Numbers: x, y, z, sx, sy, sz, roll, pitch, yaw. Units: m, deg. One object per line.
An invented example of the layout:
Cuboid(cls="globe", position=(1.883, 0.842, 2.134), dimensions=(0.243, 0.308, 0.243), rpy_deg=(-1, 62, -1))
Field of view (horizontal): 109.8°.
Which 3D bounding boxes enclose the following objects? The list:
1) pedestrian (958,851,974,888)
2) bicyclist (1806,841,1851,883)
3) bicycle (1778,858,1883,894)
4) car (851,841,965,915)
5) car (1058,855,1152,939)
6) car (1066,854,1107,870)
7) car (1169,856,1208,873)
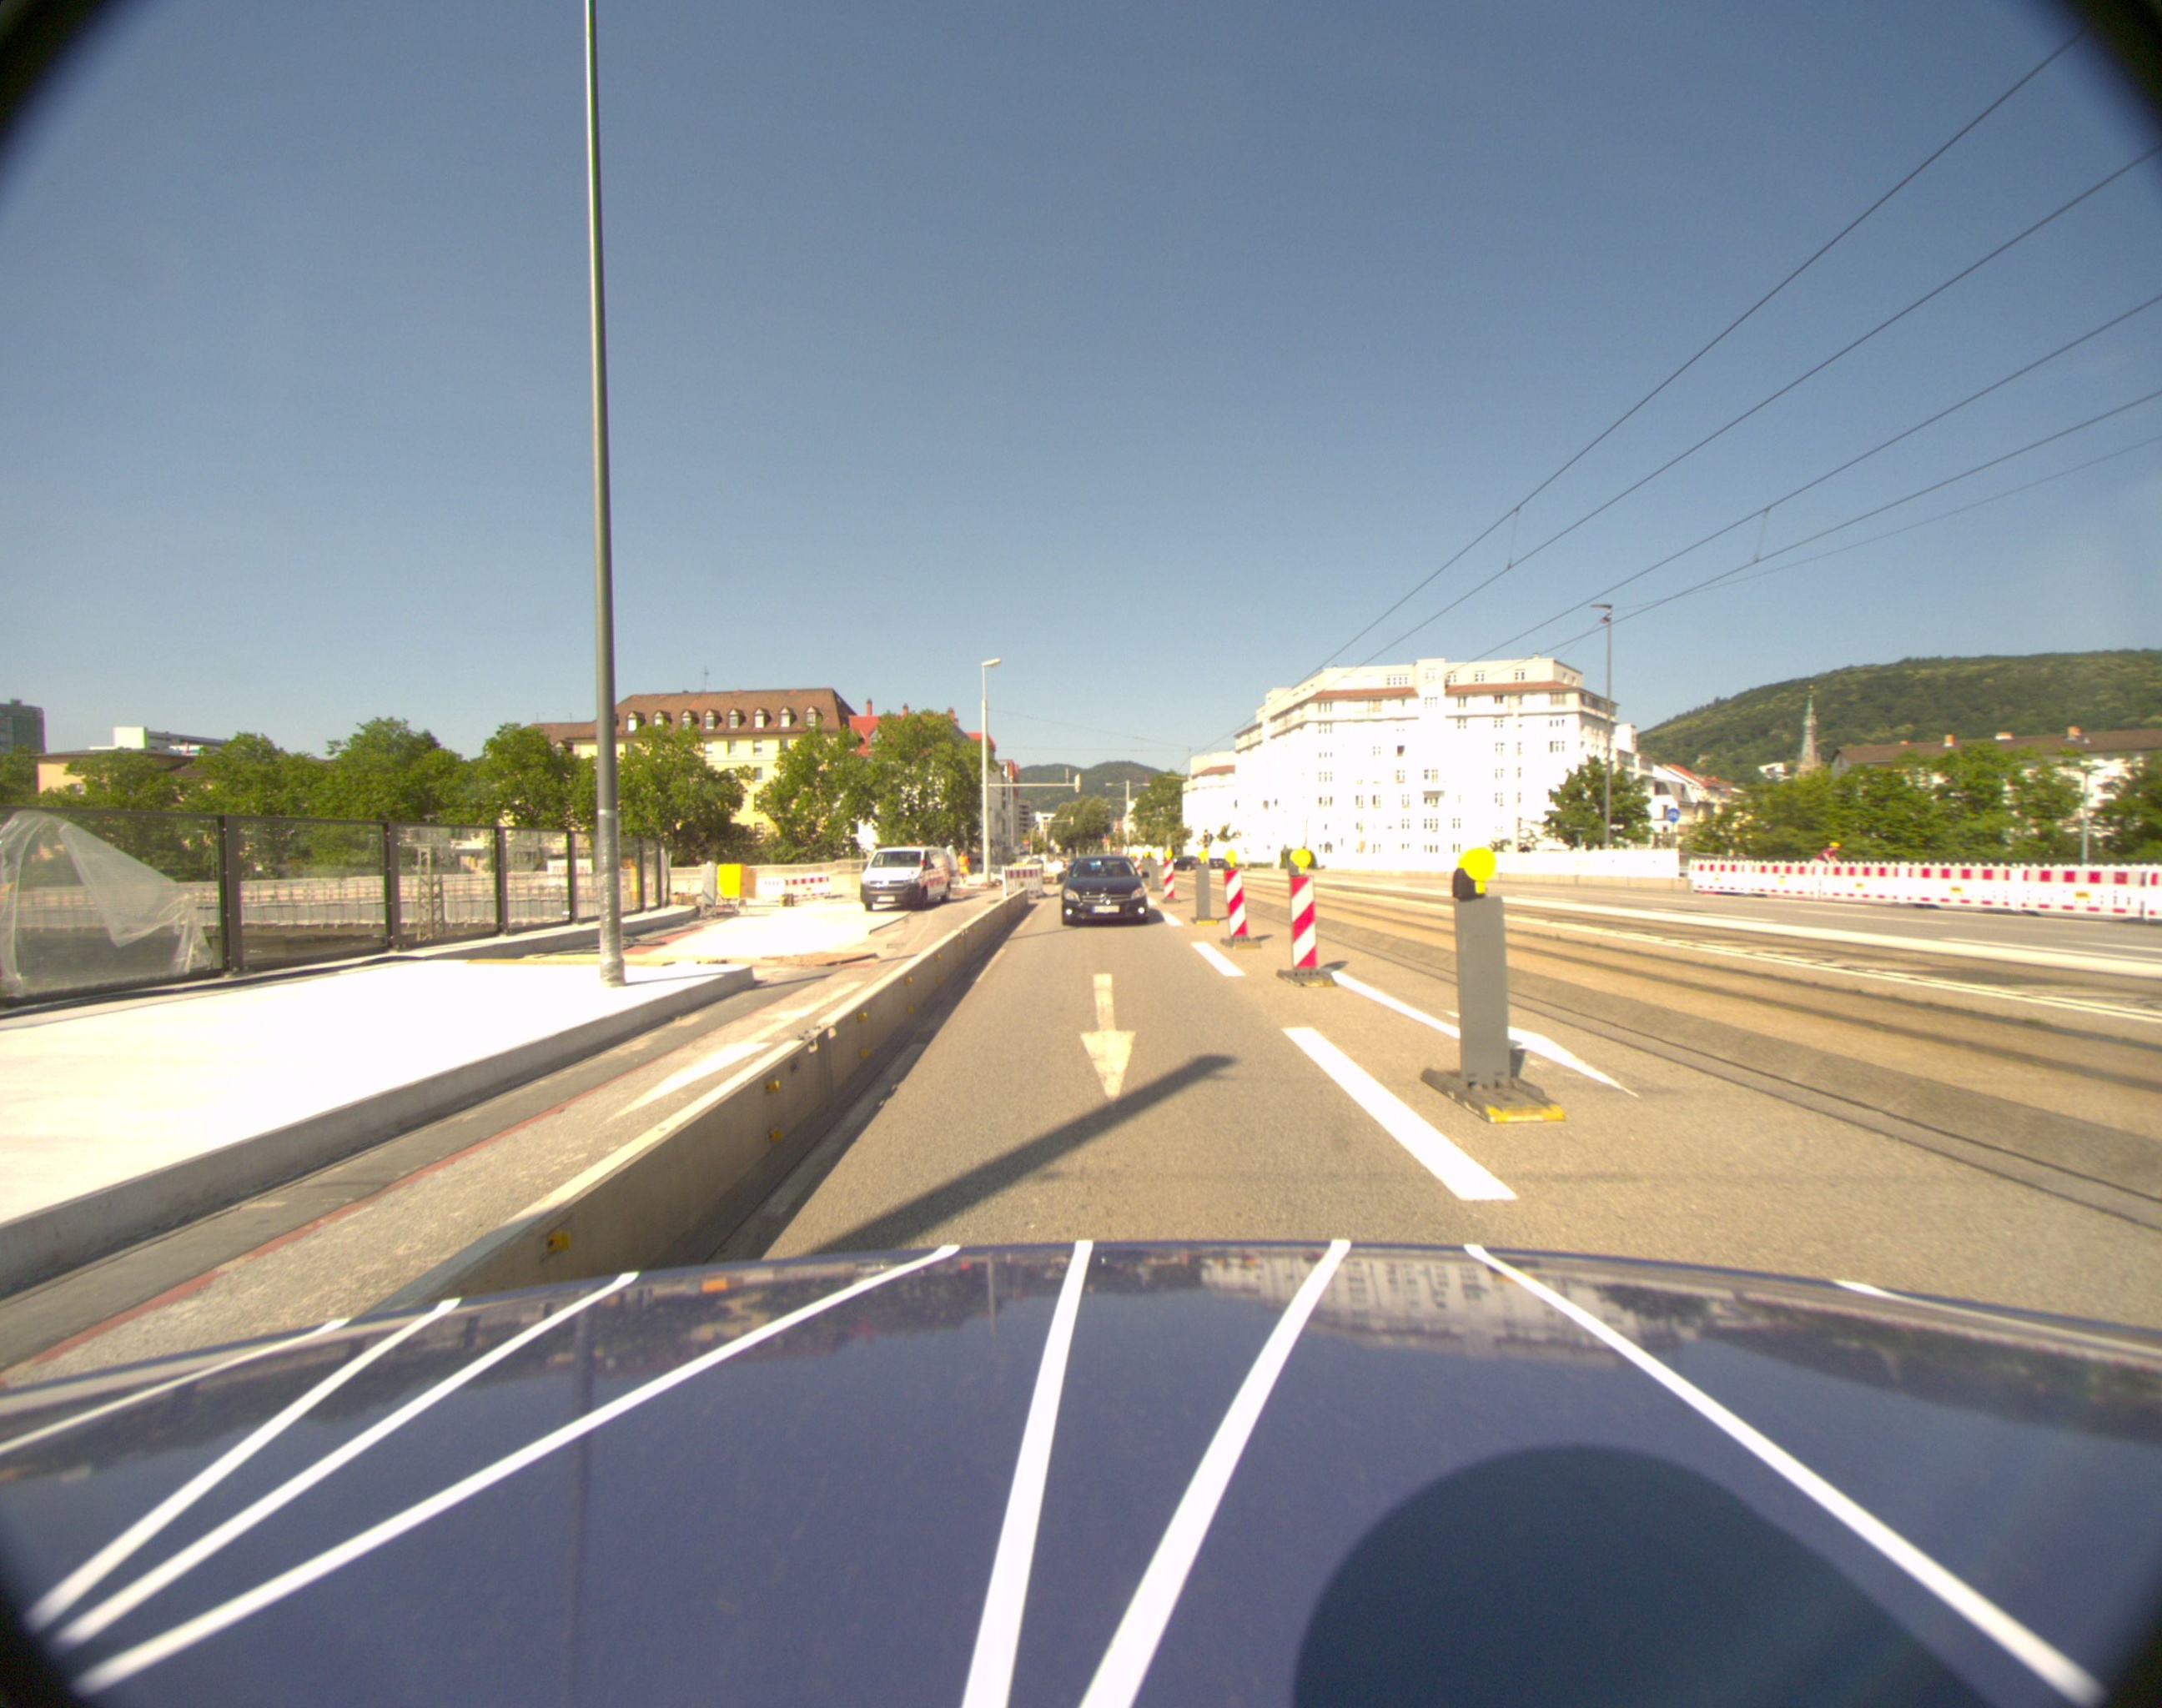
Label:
Cuboid(cls="pedestrian", position=(-6.296, 0.825, 41.643), dimensions=(0.761, 1.973, 0.843), rpy_deg=(1, 2, 1))
Cuboid(cls="bicyclist", position=(27.665, 0.286, 28.149), dimensions=(0.858, 1.510, 0.817), rpy_deg=(-2, 1, 0))
Cuboid(cls="bicycle", position=(27.681, 0.779, 28.162), dimensions=(0.858, 1.188, 3.071), rpy_deg=(-2, 1, 1))
Cuboid(cls="car", position=(-5.486, 0.648, 25.182), dimensions=(1.937, 2.078, 6.469), rpy_deg=(-1, 1, 3))
Cuboid(cls="car", position=(0.479, 0.809, 16.307), dimensions=(1.698, 1.389, 4.362), rpy_deg=(-2, 1, 1))
Cuboid(cls="car", position=(0.593, 0.859, 80.038), dimensions=(3.994, 1.477, 2.042), rpy_deg=(-2, 0, 9))
Cuboid(cls="car", position=(10.394, 1.000, 73.755), dimensions=(1.805, 1.477, 3.992), rpy_deg=(-1, 0, -24))
